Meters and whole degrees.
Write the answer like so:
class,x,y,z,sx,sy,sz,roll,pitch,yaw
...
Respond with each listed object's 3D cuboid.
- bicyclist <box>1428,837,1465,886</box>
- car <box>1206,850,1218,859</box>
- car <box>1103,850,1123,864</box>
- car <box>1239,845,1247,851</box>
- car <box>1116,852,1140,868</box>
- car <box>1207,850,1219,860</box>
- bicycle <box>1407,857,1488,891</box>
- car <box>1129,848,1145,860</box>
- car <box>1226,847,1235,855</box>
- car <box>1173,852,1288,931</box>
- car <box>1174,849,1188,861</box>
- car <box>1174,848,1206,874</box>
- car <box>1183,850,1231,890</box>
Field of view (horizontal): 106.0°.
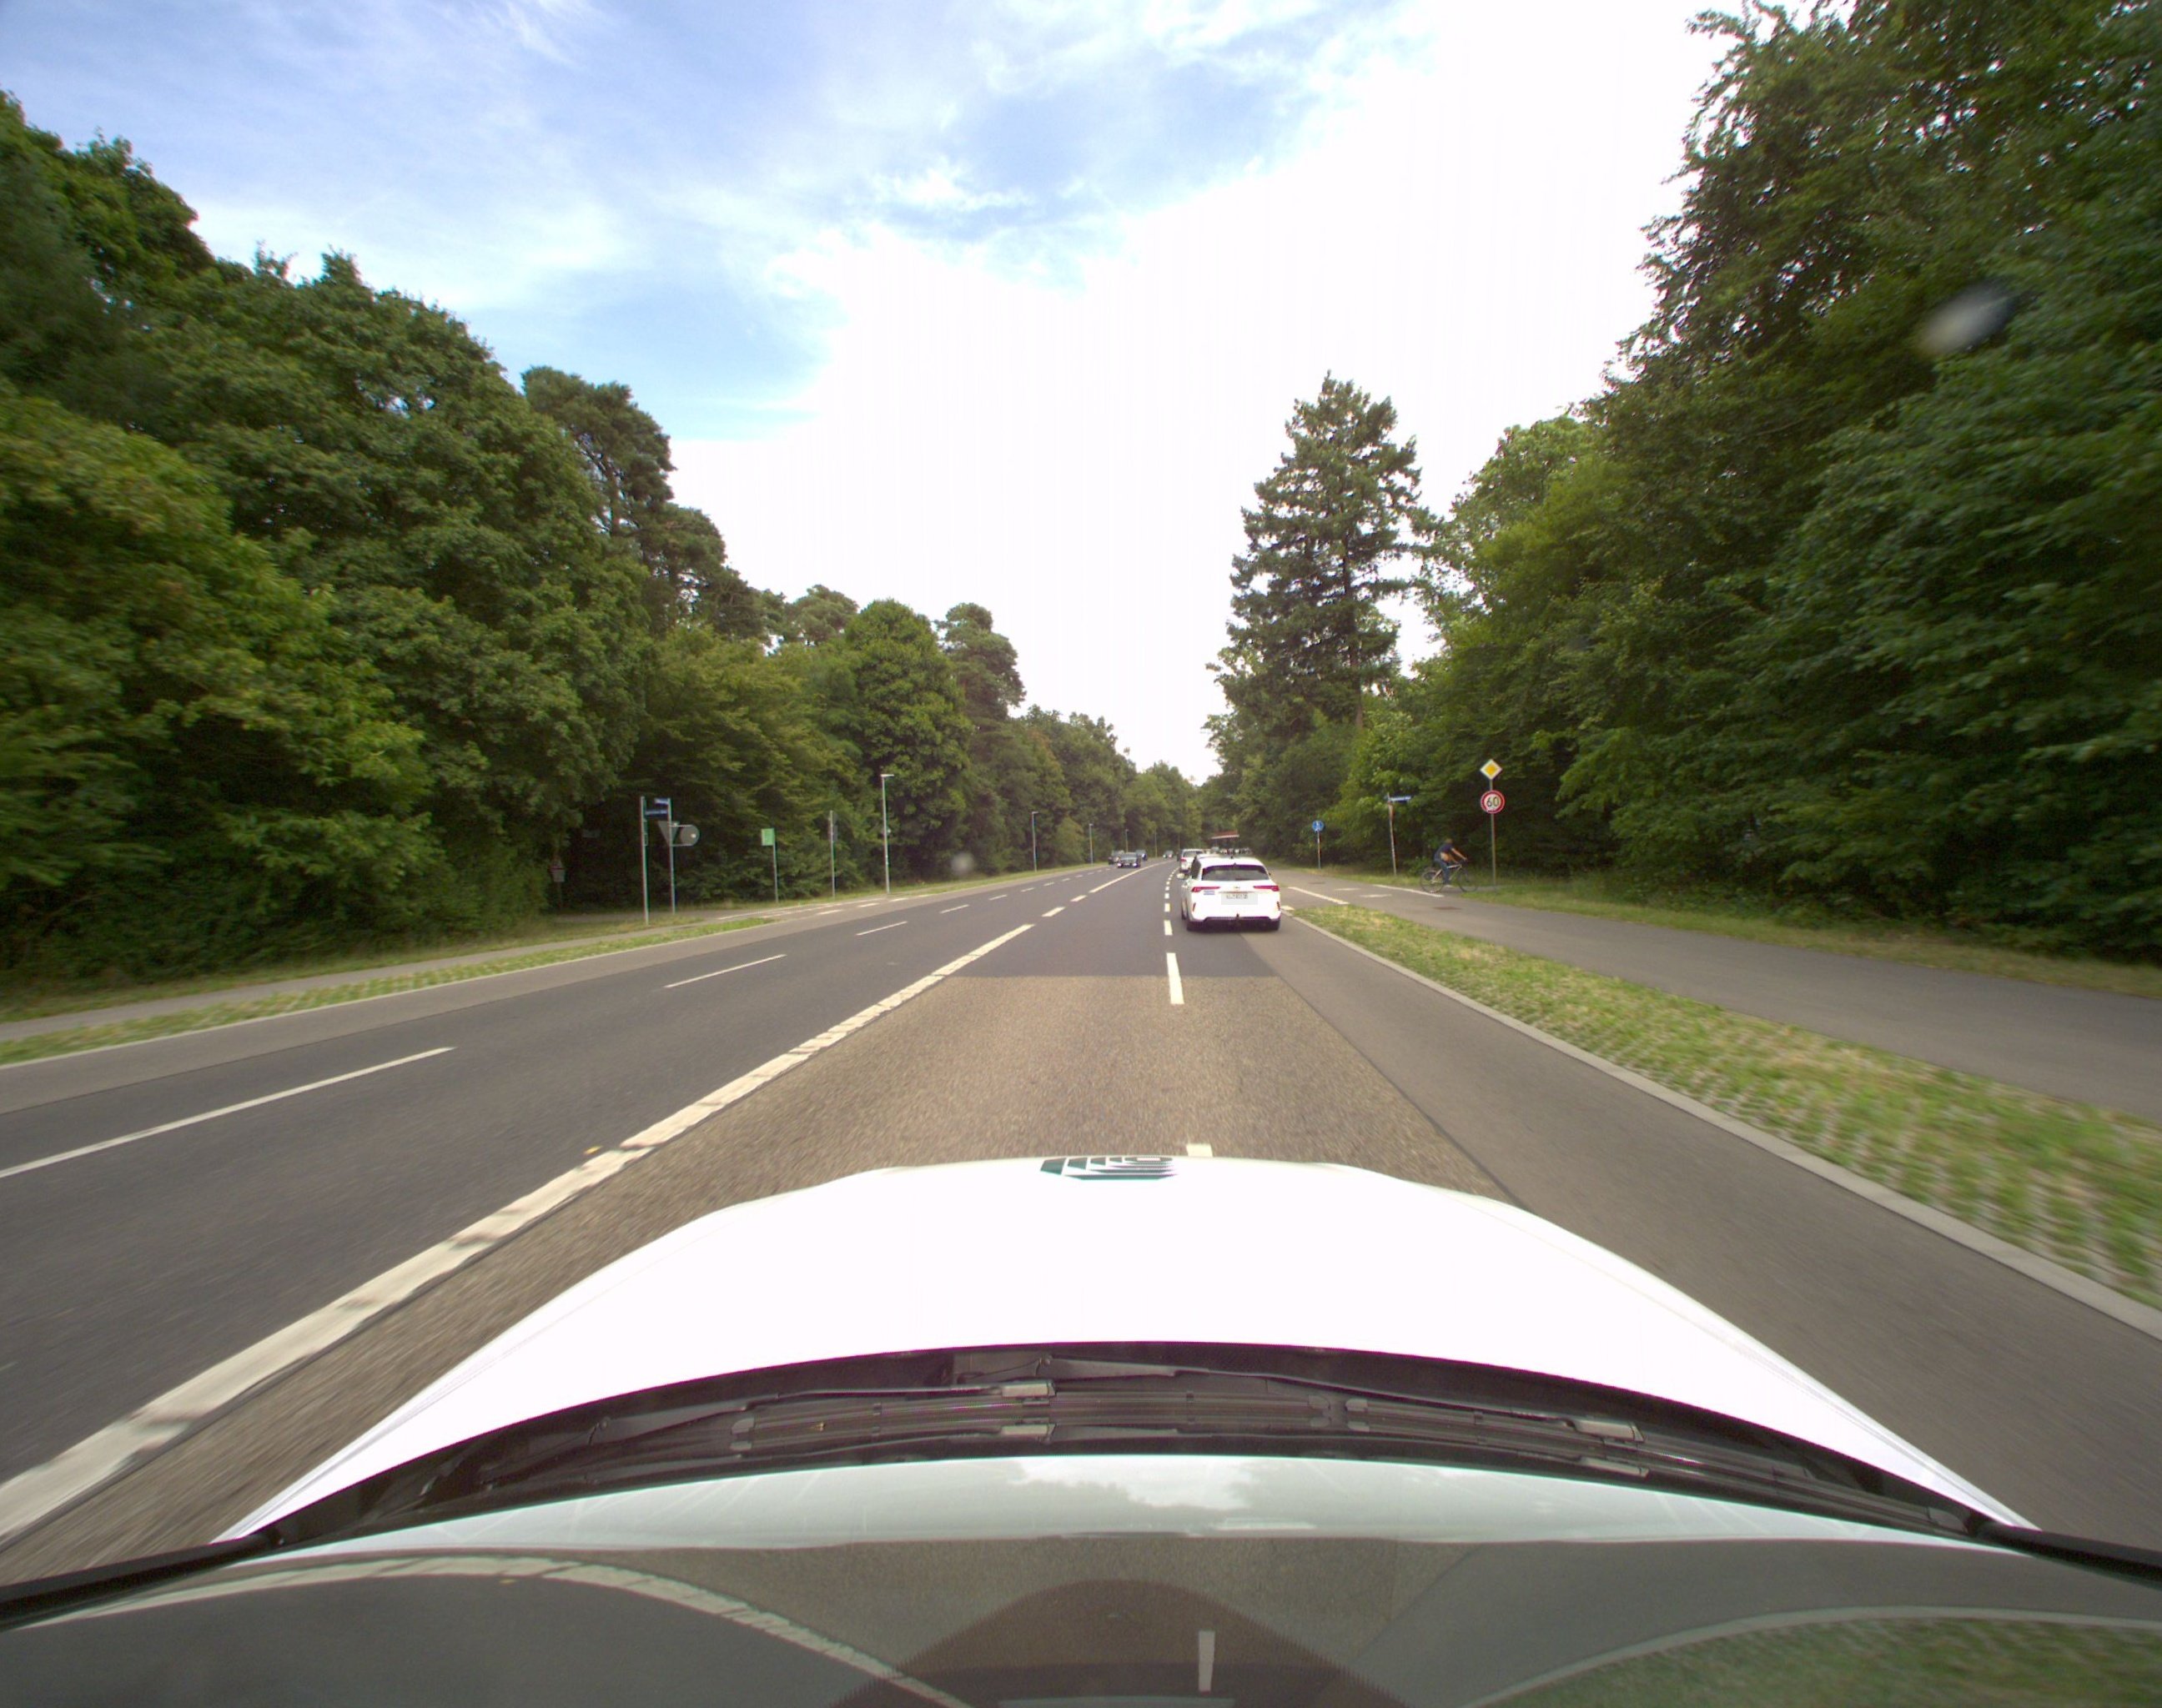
class,x,y,z,sx,sy,sz,roll,pitch,yaw
bicyclist,11.180,0.238,24.904,0.890,1.470,0.716,-2,0,35
car,28.780,0.149,178.568,1.978,1.783,4.017,0,-1,17
car,3.755,0.375,95.243,1.913,1.655,4.478,-1,-1,7
car,46.162,-1.734,231.455,1.979,1.706,4.015,-1,0,13
car,4.443,0.595,76.404,1.983,1.435,4.730,-1,-1,7
car,24.709,0.252,152.501,1.981,1.783,4.012,1,-1,11
bicycle,11.196,0.616,24.913,2.153,0.994,0.716,-1,0,35
car,8.428,0.028,122.919,1.982,1.617,4.675,1,-1,9
car,37.020,-0.780,201.569,1.979,1.783,4.015,0,-1,15
car,2.952,0.683,16.942,1.828,1.410,4.495,-1,0,4
car,14.449,0.159,117.876,1.718,1.587,4.012,1,-1,11
car,7.148,0.464,53.817,1.983,1.607,4.007,1,-1,6
car,4.846,0.600,31.743,1.627,1.420,4.006,1,-1,6
